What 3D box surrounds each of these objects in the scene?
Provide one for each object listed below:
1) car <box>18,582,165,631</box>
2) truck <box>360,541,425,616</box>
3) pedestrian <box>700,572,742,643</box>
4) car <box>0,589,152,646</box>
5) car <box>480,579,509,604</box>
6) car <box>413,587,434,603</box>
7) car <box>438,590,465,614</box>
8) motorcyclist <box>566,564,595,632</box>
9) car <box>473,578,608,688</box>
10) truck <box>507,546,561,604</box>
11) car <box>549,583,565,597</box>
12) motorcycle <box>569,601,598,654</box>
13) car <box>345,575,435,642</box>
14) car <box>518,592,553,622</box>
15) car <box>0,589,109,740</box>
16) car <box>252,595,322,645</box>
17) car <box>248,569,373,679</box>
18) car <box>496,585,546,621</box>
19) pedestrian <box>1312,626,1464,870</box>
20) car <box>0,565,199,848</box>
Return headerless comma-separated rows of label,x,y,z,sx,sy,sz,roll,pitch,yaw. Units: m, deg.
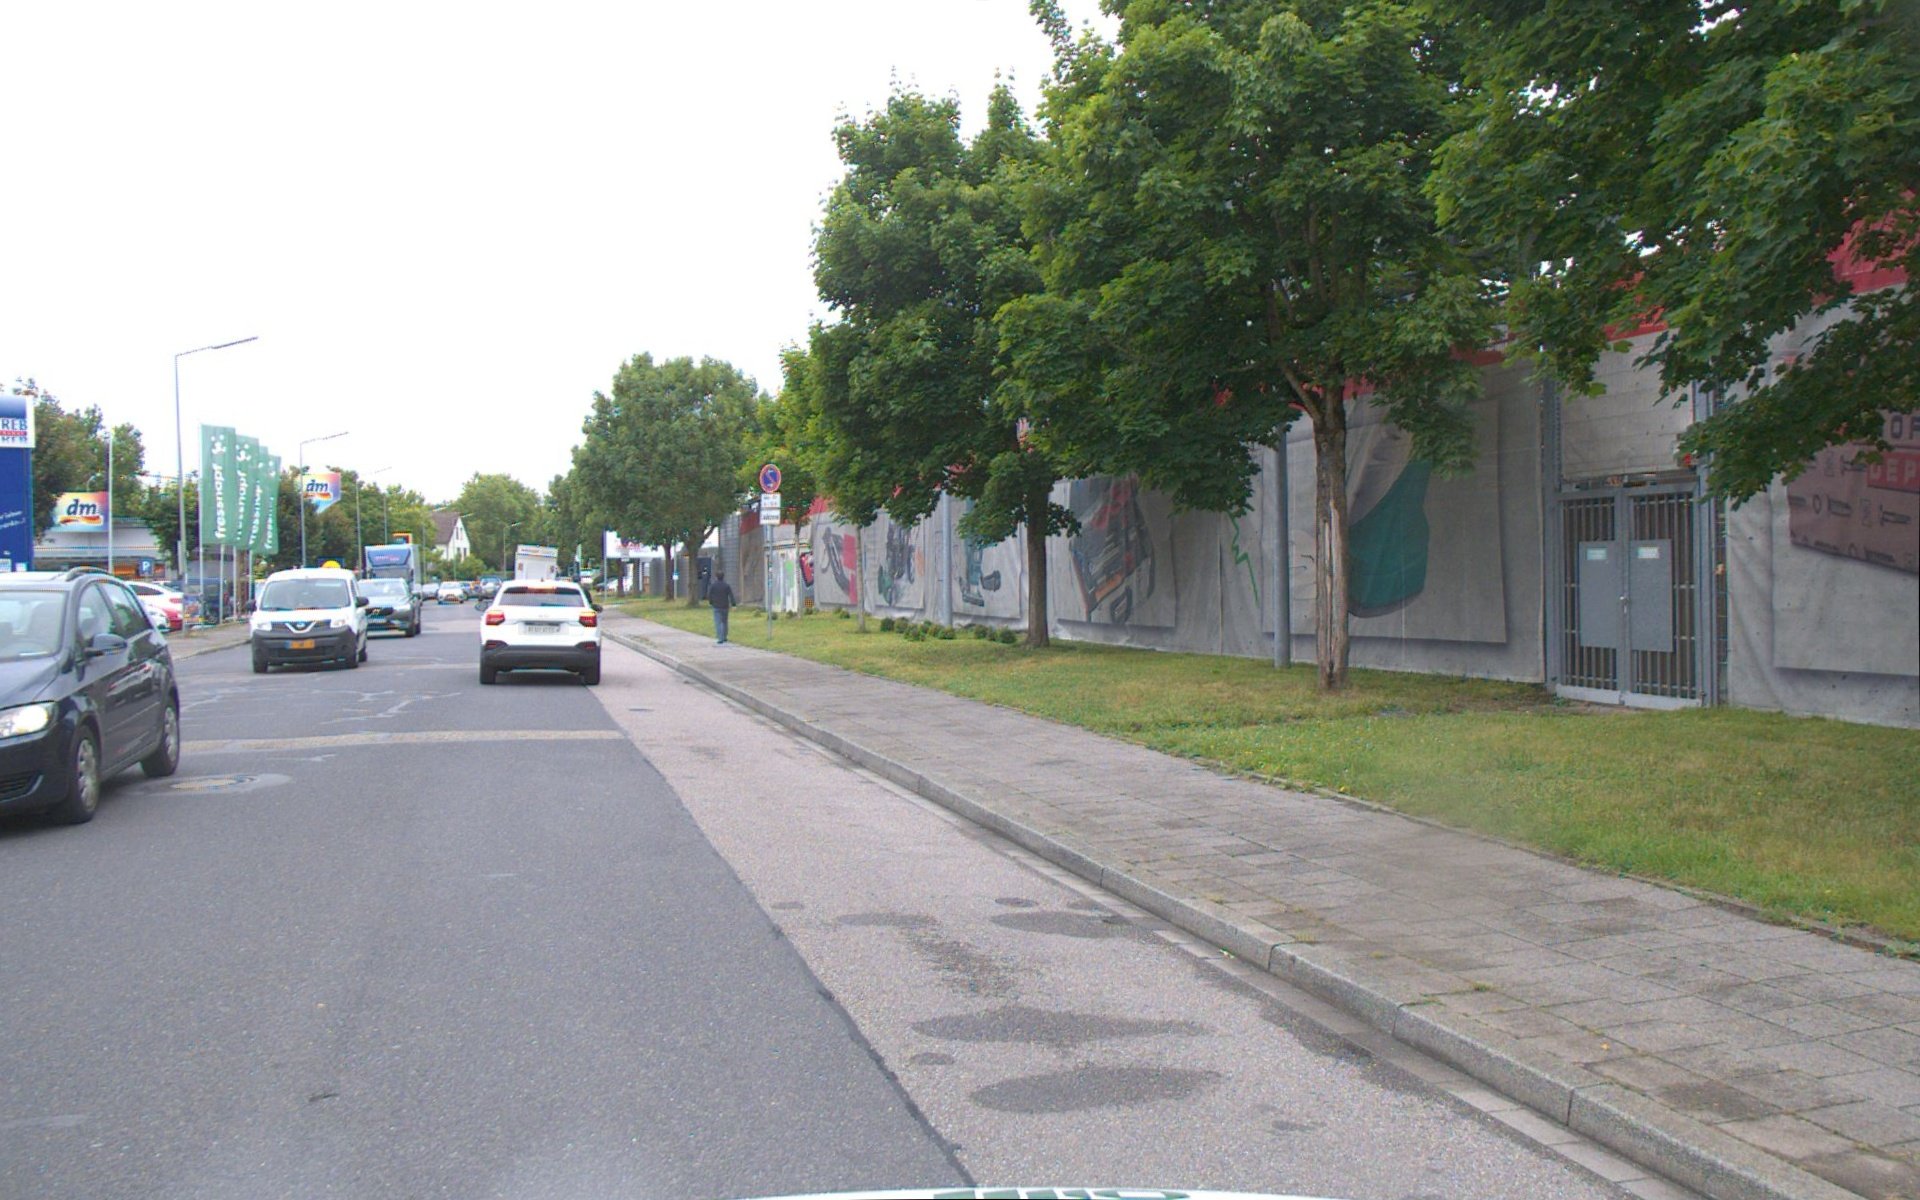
car,-28.778,0.191,54.935,4.077,1.489,1.886,-2,1,-22
truck,-32.403,-1.216,94.640,2.925,4.024,6.379,-3,1,-15
pedestrian,-5.688,0.184,39.311,0.903,1.663,0.849,0,0,-14
car,-27.105,0.519,50.593,4.148,1.488,1.939,-3,1,-24
car,-33.736,-0.624,119.849,1.840,1.691,3.981,-2,1,-17
car,-45.748,-0.420,140.997,1.597,1.399,3.437,0,0,-16
car,-35.175,0.155,114.510,1.572,1.554,3.514,-3,1,-15
motorcyclist,-8.936,-0.044,38.957,0.614,1.581,0.602,-1,1,-14
car,-6.564,0.465,25.858,1.855,1.558,4.237,1,0,-15
truck,-28.484,-1.563,110.210,3.085,3.647,10.003,0,0,-17
car,-49.334,-1.246,202.441,1.855,1.713,4.237,1,0,-15
motorcycle,-8.895,0.630,39.016,0.630,1.199,2.106,-1,1,-13
car,-16.053,0.209,46.739,1.900,1.713,4.479,-2,1,-13
car,-26.064,0.426,101.475,1.962,1.837,3.981,0,0,-17
car,-11.437,0.747,19.020,1.915,1.552,4.385,-6,2,-15
car,-20.441,0.572,50.174,1.873,1.391,3.971,-2,1,-23
car,-11.810,0.381,30.292,1.663,1.791,4.116,-3,1,-16
car,-18.317,0.087,68.857,1.906,1.391,3.983,-2,1,-16
pedestrian,3.116,1.049,12.081,0.810,1.677,0.695,-2,1,-16
car,-6.461,0.614,11.179,1.701,1.599,3.930,-2,1,-15
